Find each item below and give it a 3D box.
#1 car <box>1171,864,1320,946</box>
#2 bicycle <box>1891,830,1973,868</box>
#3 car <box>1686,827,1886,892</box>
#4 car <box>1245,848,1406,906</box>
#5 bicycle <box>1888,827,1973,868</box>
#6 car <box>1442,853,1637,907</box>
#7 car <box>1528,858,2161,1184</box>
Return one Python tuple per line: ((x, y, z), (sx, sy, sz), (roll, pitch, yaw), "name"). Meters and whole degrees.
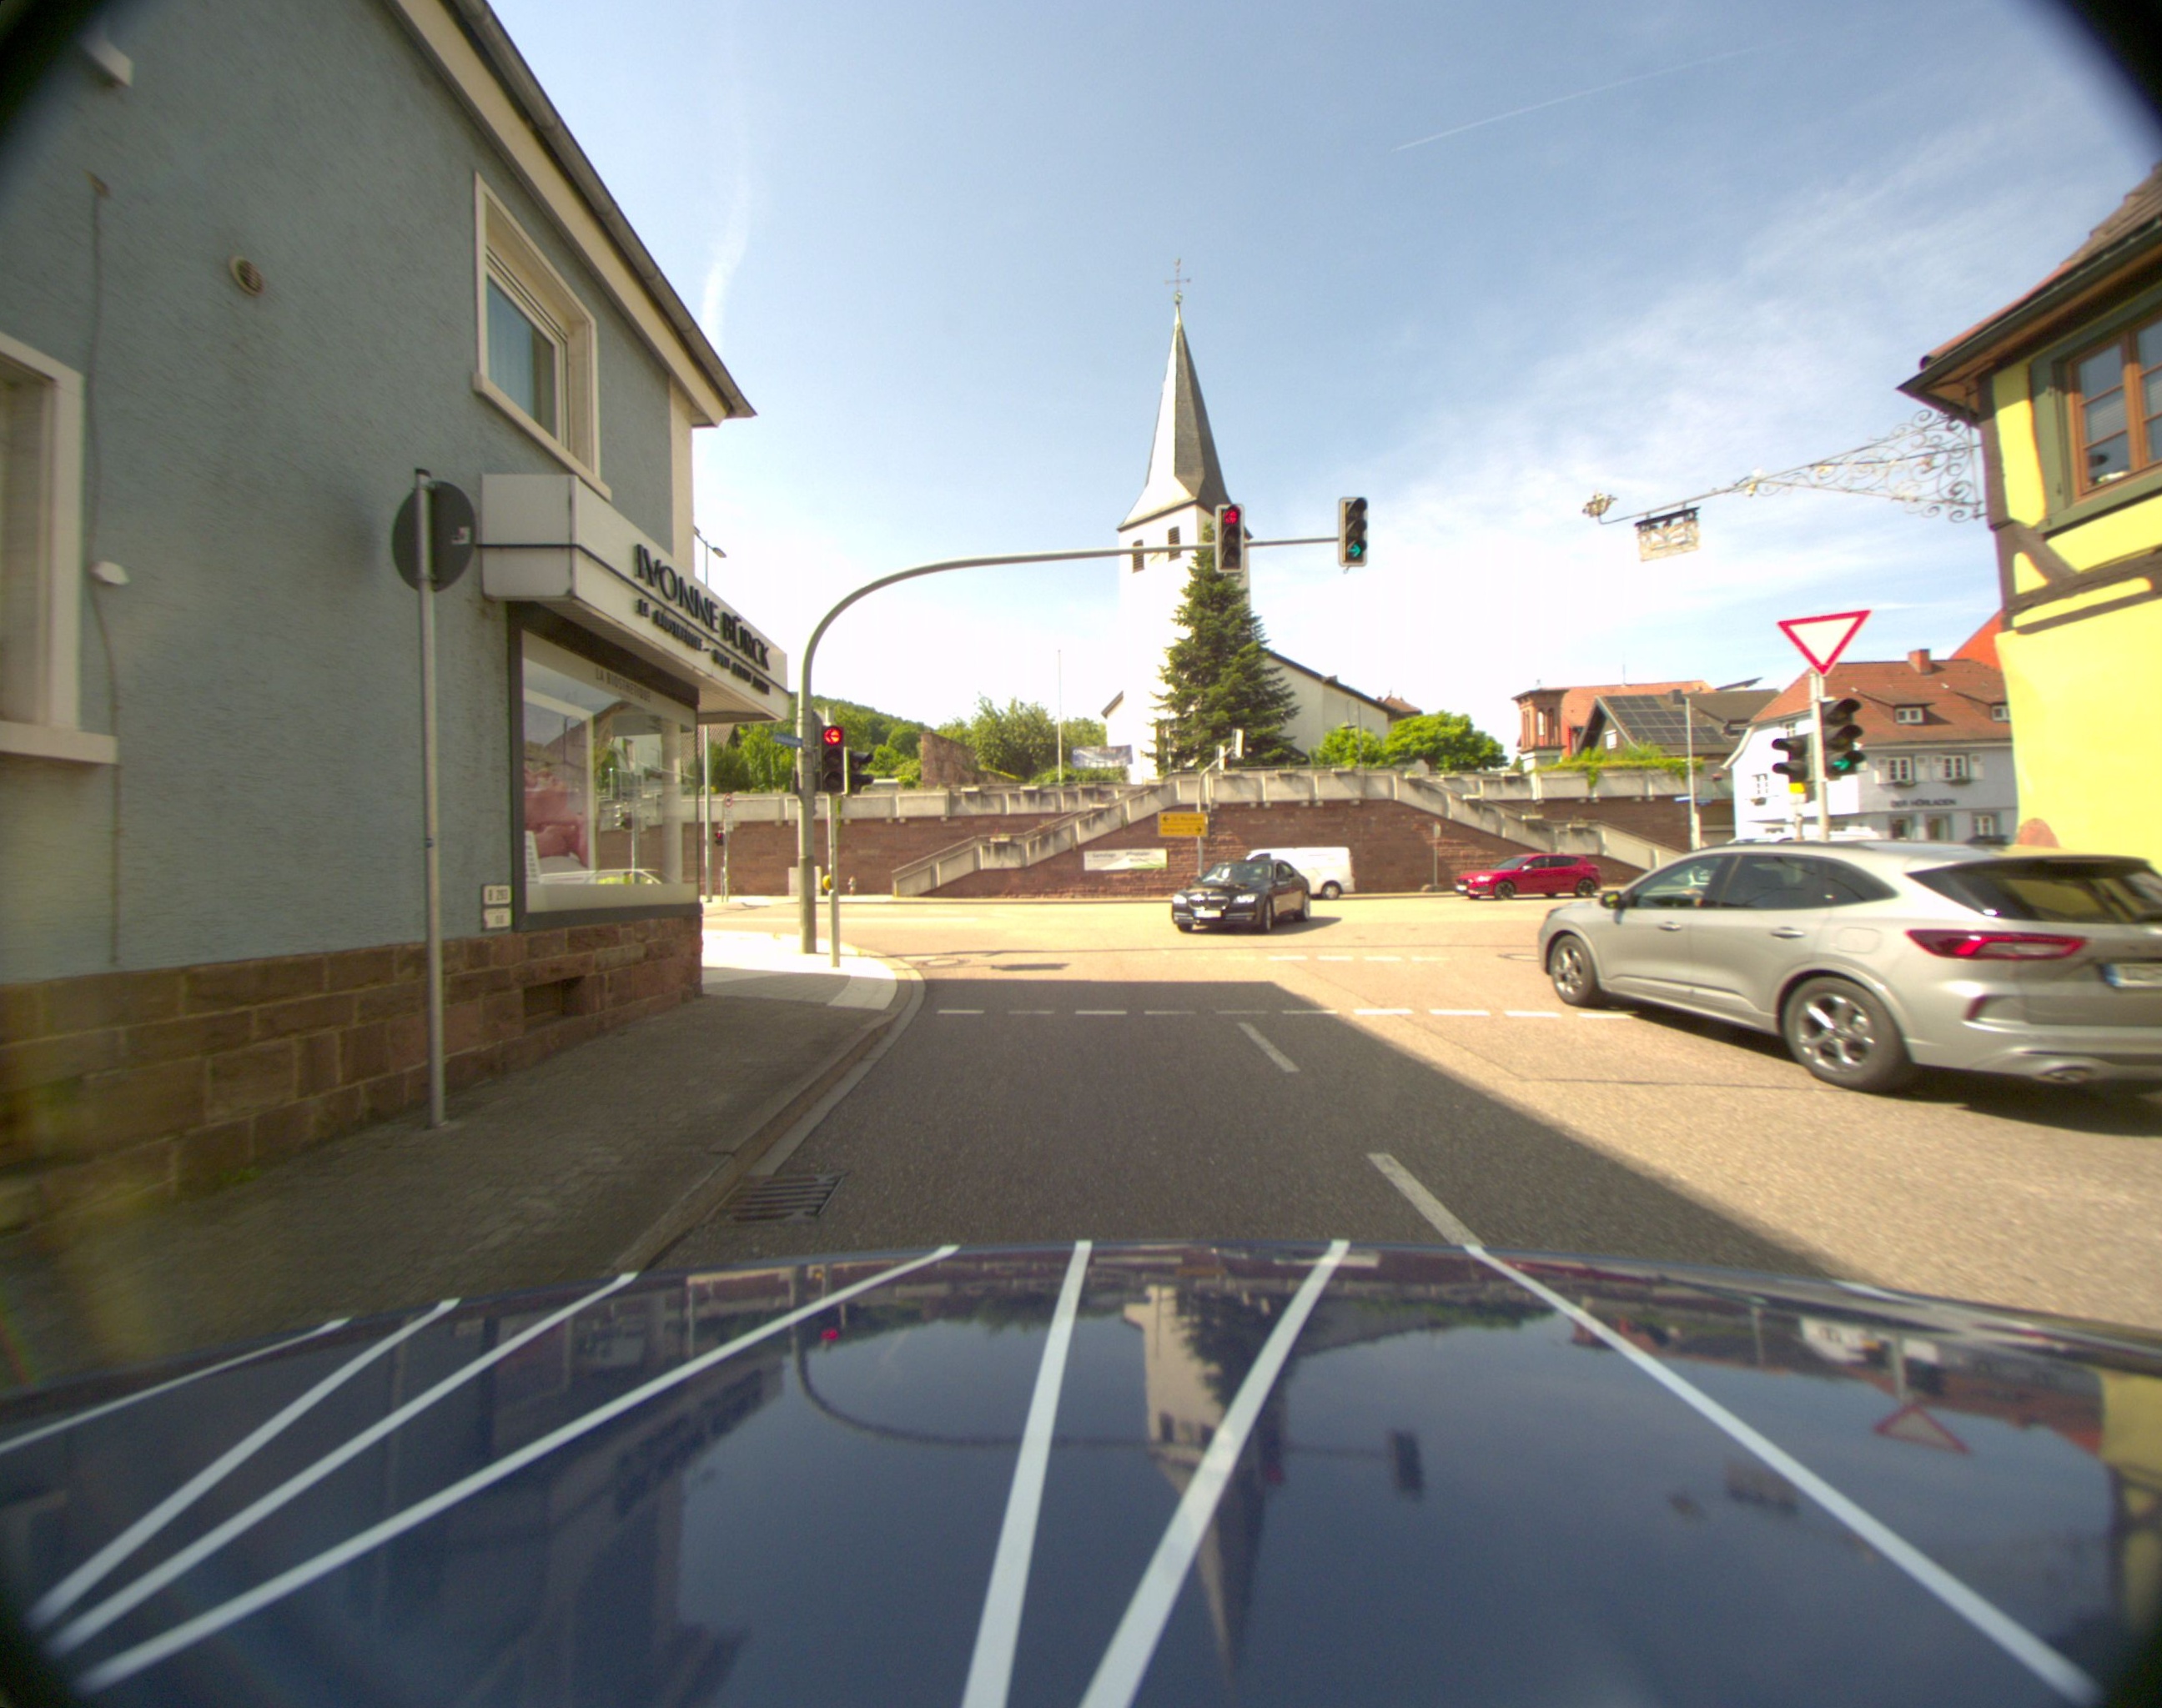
((3.624, 0.976, 16.106), (1.822, 1.426, 4.257), (-1, -1, 30), "car")
((36.519, -0.226, 32.624), (2.559, 1.598, 0.560), (-1, 2, 8), "bicycle")
((22.858, 0.194, 24.735), (4.962, 1.895, 1.826), (-2, -1, -4), "car")
((8.968, 0.856, 28.284), (5.273, 1.955, 2.145), (-1, -1, 2), "car")
((37.112, -0.277, 33.210), (2.666, 1.769, 0.643), (-1, 2, 8), "bicycle")
((14.611, 0.806, 24.417), (4.944, 1.506, 2.166), (-2, 0, -1), "car")
((5.658, 0.851, 5.958), (1.760, 1.600, 4.429), (1, 0, 1), "car")
